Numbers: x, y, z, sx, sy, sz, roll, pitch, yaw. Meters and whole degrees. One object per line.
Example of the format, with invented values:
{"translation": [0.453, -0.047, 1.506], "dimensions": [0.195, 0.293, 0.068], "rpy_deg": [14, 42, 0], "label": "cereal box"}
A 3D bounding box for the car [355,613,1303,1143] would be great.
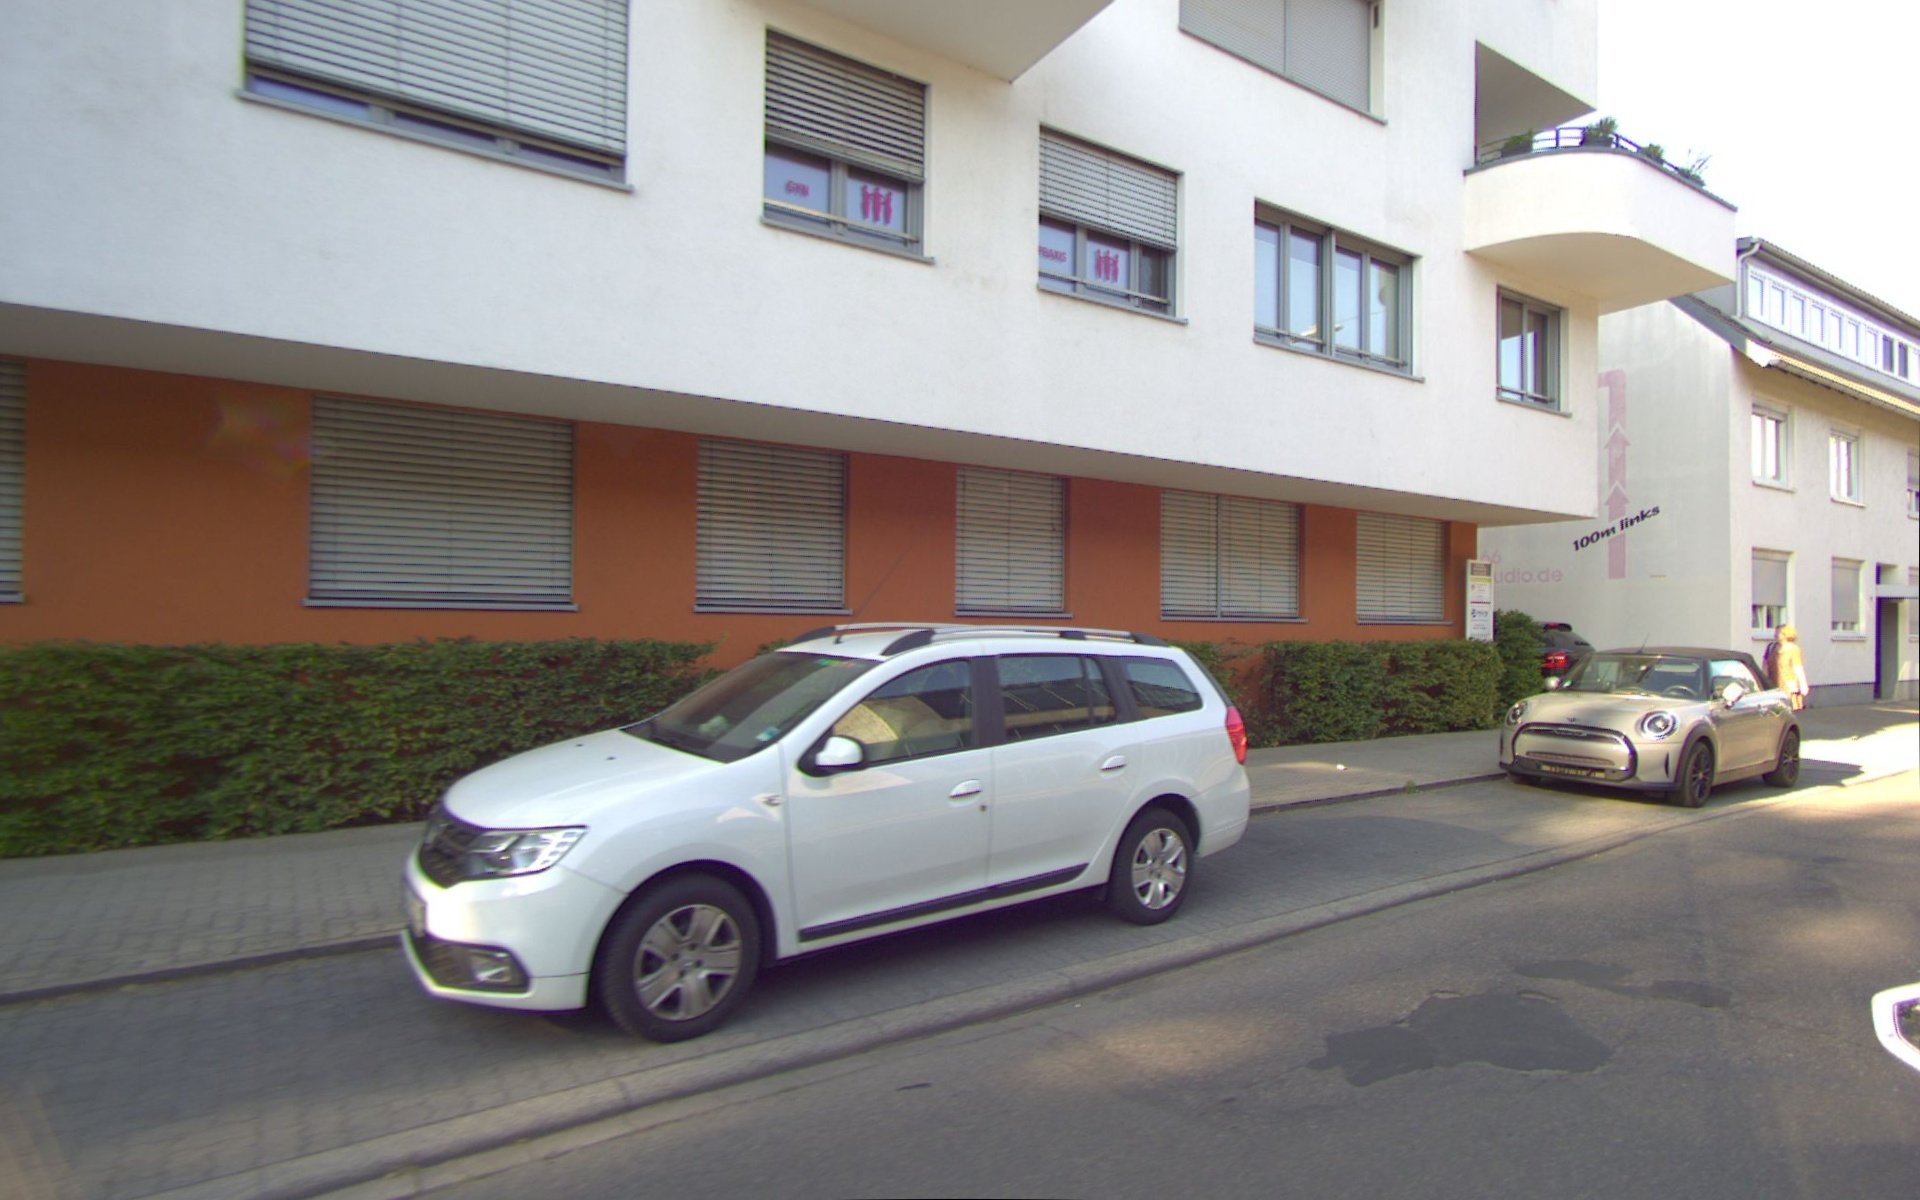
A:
{"translation": [-0.363, 0.931, 5.217], "dimensions": [4.579, 1.608, 1.844], "rpy_deg": [2, -2, -38], "label": "car"}

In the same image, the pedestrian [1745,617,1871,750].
{"translation": [12.350, 1.190, 14.652], "dimensions": [1.112, 1.843, 0.862], "rpy_deg": [1, 1, -10], "label": "pedestrian"}

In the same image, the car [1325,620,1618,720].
{"translation": [9.584, 1.320, 19.213], "dimensions": [1.994, 1.659, 4.578], "rpy_deg": [1, -4, -35], "label": "car"}

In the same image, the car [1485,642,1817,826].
{"translation": [7.316, 1.254, 10.528], "dimensions": [3.819, 1.556, 1.657], "rpy_deg": [2, -2, -35], "label": "car"}
